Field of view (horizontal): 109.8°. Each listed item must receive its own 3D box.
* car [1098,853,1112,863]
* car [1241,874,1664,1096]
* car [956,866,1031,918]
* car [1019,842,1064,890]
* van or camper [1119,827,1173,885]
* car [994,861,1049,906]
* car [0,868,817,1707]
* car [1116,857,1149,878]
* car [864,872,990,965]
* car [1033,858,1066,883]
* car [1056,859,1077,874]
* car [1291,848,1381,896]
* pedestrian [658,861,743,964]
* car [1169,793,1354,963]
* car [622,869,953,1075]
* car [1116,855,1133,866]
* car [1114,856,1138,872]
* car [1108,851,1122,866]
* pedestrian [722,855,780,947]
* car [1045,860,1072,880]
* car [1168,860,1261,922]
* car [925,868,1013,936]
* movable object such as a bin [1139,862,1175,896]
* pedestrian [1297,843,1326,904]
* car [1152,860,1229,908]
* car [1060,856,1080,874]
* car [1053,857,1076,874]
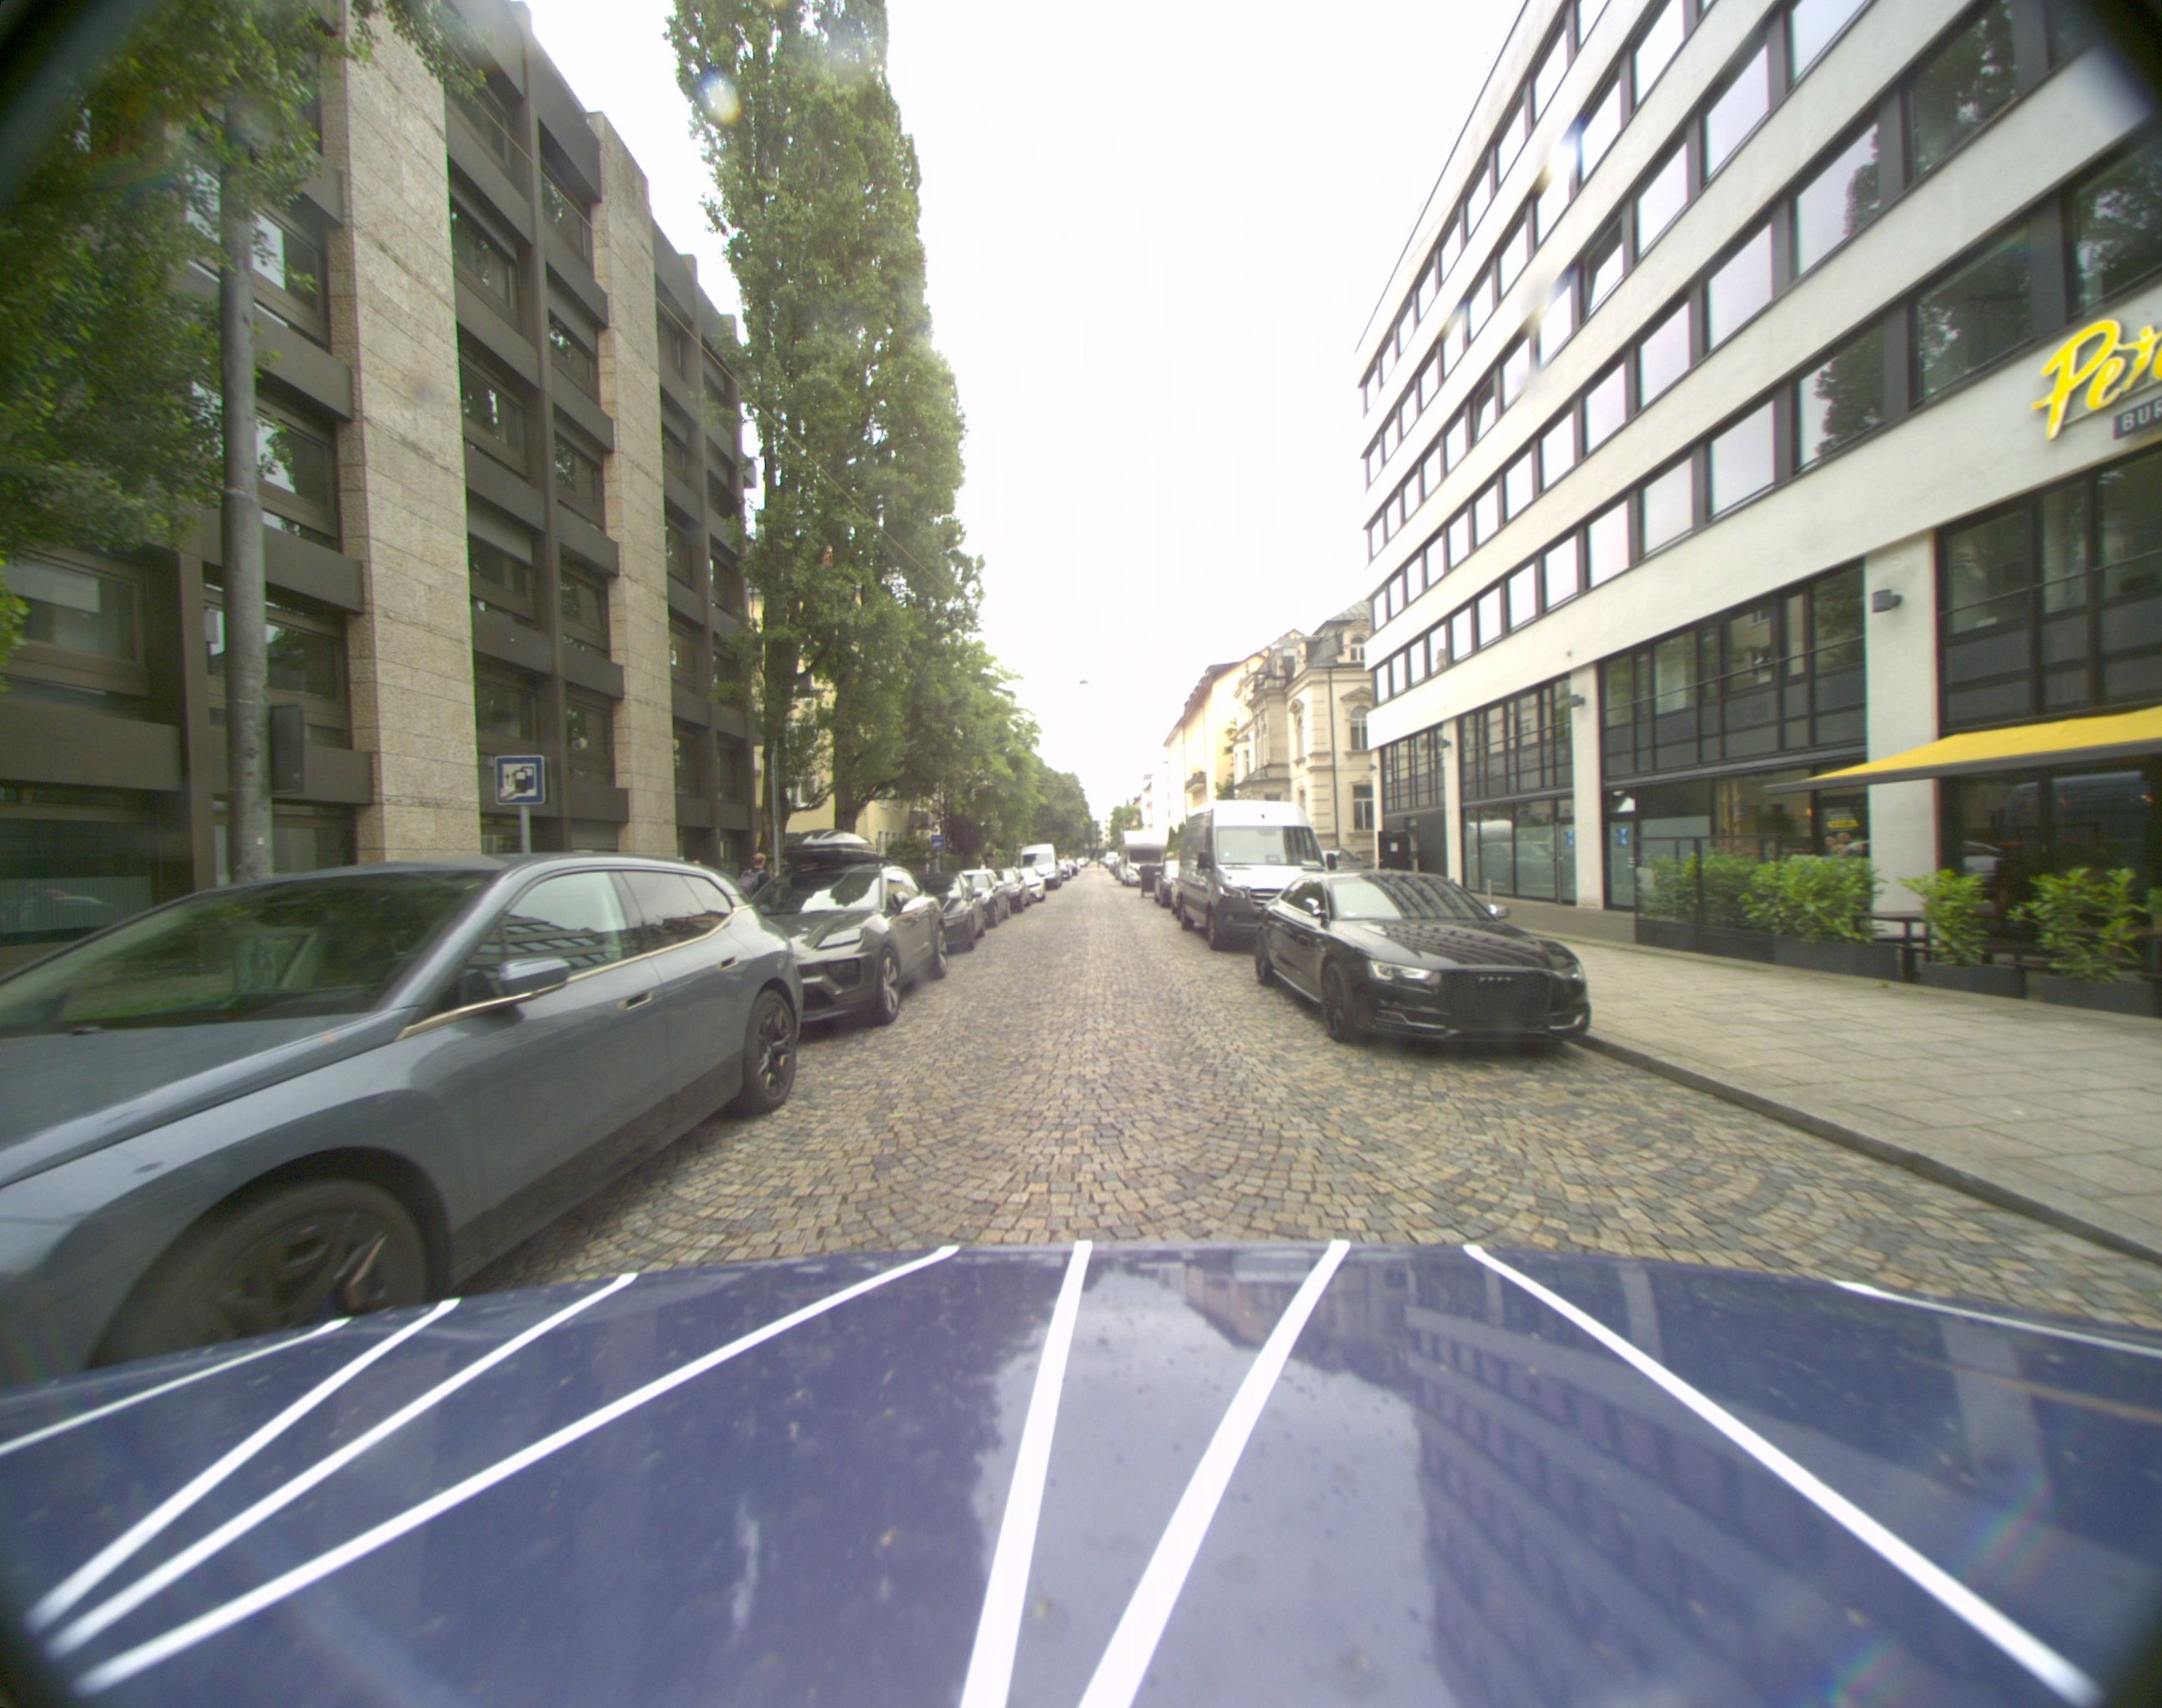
[{"bbox_3d":[3.689,0.619,117.061,1.999,1.401,3.872,0,1,-1],"label":"car"},{"bbox_3d":[2.947,0.945,7.198,1.998,1.322,4.116,-2,0,0],"label":"car"},{"bbox_3d":[-2.745,1.171,24.665,1.999,1.379,3.873,-3,0,-1],"label":"car"},{"bbox_3d":[-2.133,0.626,42.509,2.088,2.418,5.610,-3,0,0],"label":"car"},{"bbox_3d":[3.641,0.091,44.278,2.463,3.029,7.317,-2,0,0],"label":"van or camper"},{"bbox_3d":[-2.293,1.109,30.100,1.867,1.490,3.873,-3,0,-1],"label":"car"},{"bbox_3d":[-2.954,0.996,3.108,2.018,1.690,4.673,-3,0,0],"label":"car"},{"bbox_3d":[3.700,0.961,55.437,1.999,1.379,3.873,-3,0,-1],"label":"car"},{"bbox_3d":[-2.844,1.137,14.920,1.724,1.382,4.204,-2,0,-3],"label":"car"},{"bbox_3d":[-1.977,1.039,49.121,1.999,1.379,3.873,-3,0,-1],"label":"car"},{"bbox_3d":[-1.462,1.238,76.565,1.999,1.379,3.873,-2,0,-1],"label":"car"},{"bbox_3d":[9.000,0.604,27.188,1.912,1.523,4.170,-2,0,2],"label":"car"},{"bbox_3d":[-6.651,0.996,13.310,0.867,1.704,0.913,-2,1,21],"label":"pedestrian"},{"bbox_3d":[3.030,0.356,14.260,2.064,2.476,5.849,-2,0,0],"label":"car"},{"bbox_3d":[-2.867,1.050,8.649,1.998,1.573,4.342,-3,0,0],"label":"car"},{"bbox_3d":[6.031,0.942,106.729,1.999,1.401,3.873,-3,0,-1],"label":"car"},{"bbox_3d":[4.312,0.973,73.478,1.999,1.401,3.873,-2,0,-1],"label":"car"},{"bbox_3d":[5.701,0.778,128.352,2.088,2.418,5.610,-3,0,0],"label":"car"},{"bbox_3d":[-5.710,0.800,13.189,0.645,1.528,0.709,-2,1,-2],"label":"pedestrian"},{"bbox_3d":[-1.808,1.248,60.998,1.999,1.379,3.873,-3,0,-1],"label":"car"},{"bbox_3d":[3.458,0.914,20.345,1.998,1.422,4.001,-2,0,4],"label":"car"},{"bbox_3d":[-2.812,1.178,19.774,1.604,1.422,3.562,-4,0,1],"label":"car"},{"bbox_3d":[3.029,0.994,30.458,1.255,1.290,1.174,-2,0,-2],"label":"movable object such as a bin"},{"bbox_3d":[6.708,0.555,22.087,0.575,1.738,0.650,-2,1,-2],"label":"pedestrian"},{"bbox_3d":[3.524,0.921,25.070,1.998,1.380,4.000,-2,0,1],"label":"car"},{"bbox_3d":[-1.178,1.168,81.615,1.999,1.680,3.873,-3,0,-1],"label":"car"},{"bbox_3d":[-1.550,1.031,69.888,1.999,1.379,3.873,-2,0,-1],"label":"car"}]
